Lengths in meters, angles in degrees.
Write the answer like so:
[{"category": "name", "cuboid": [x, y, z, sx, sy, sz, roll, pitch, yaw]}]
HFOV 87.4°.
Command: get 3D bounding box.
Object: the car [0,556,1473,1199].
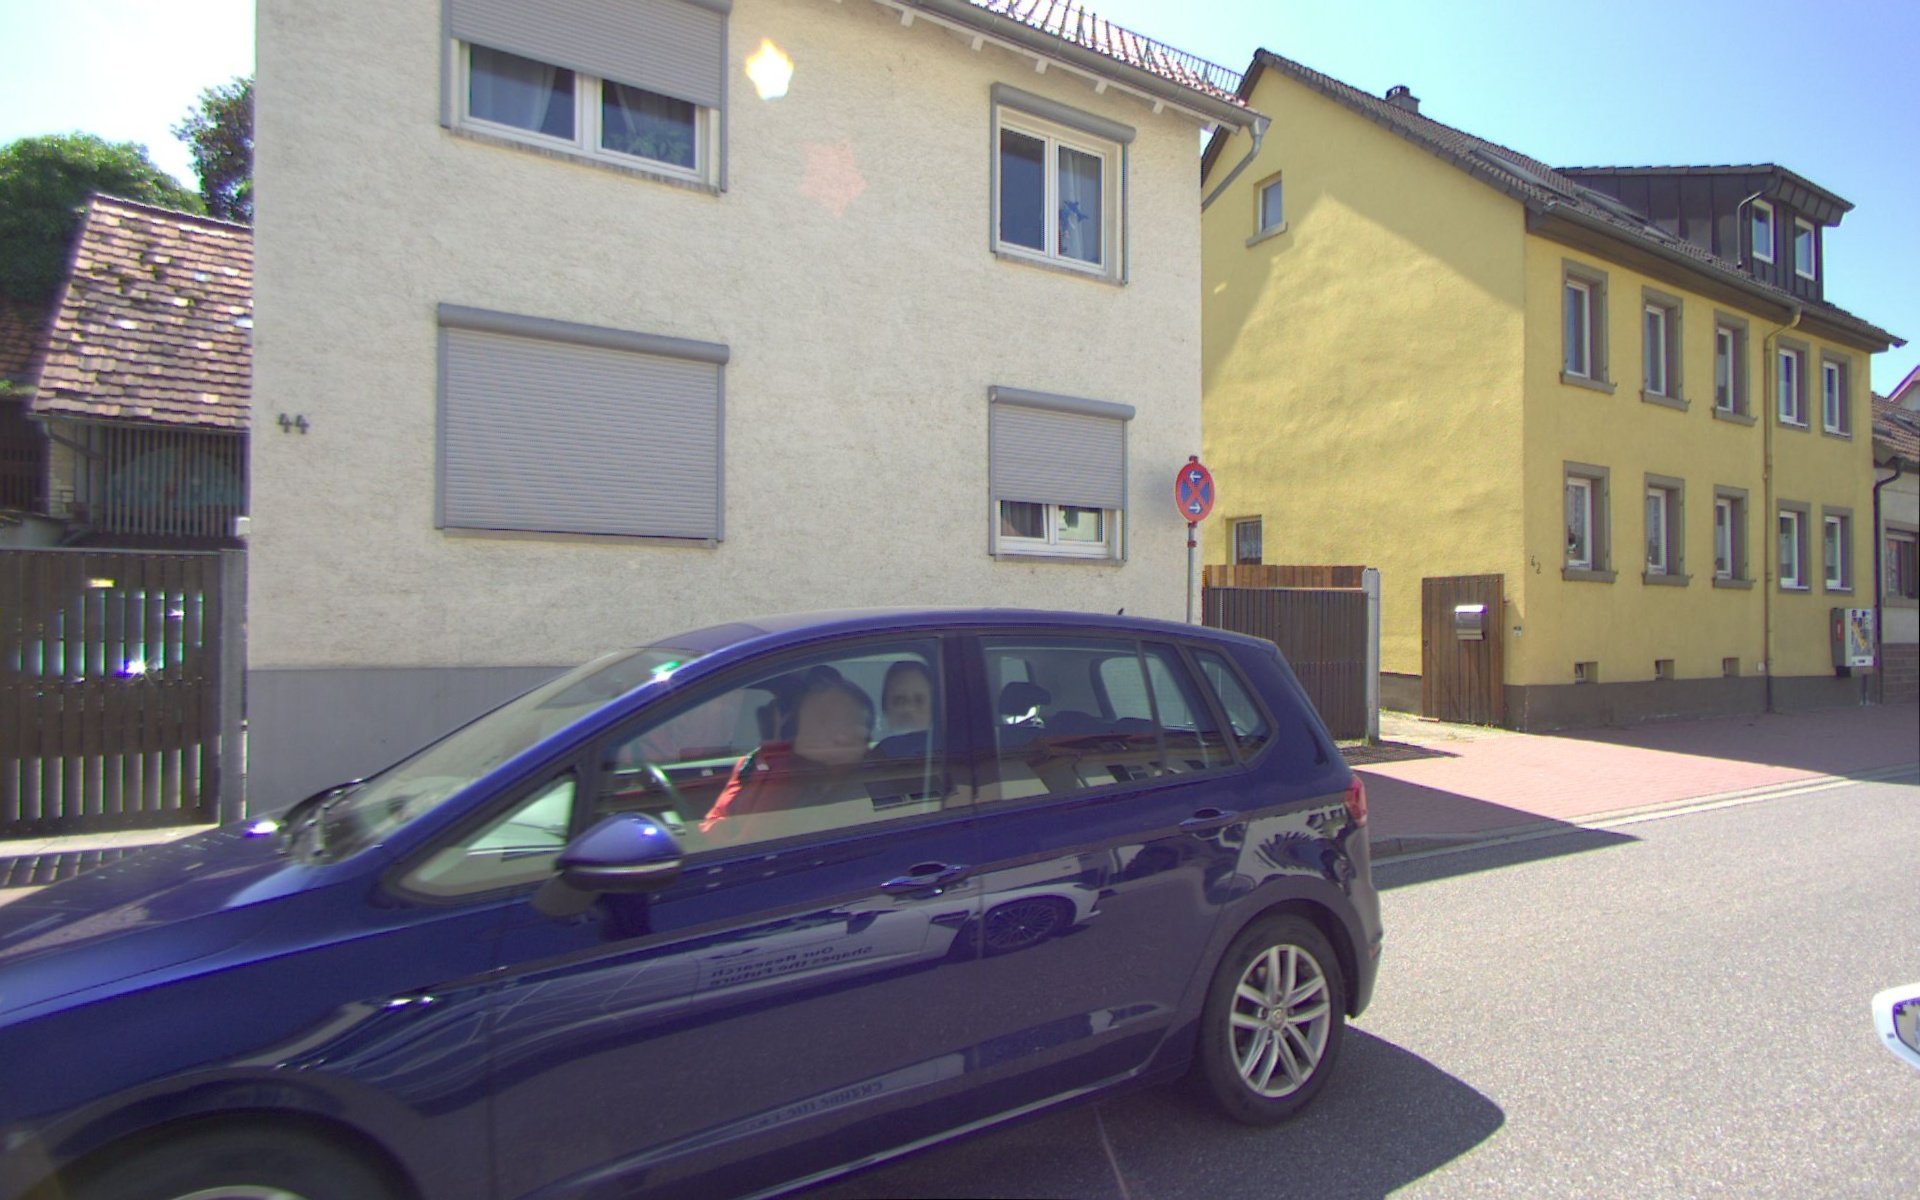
[{"category": "car", "cuboid": [-0.428, 0.784, 3.152, 4.031, 1.556, 1.756, 1, -3, -31]}]
